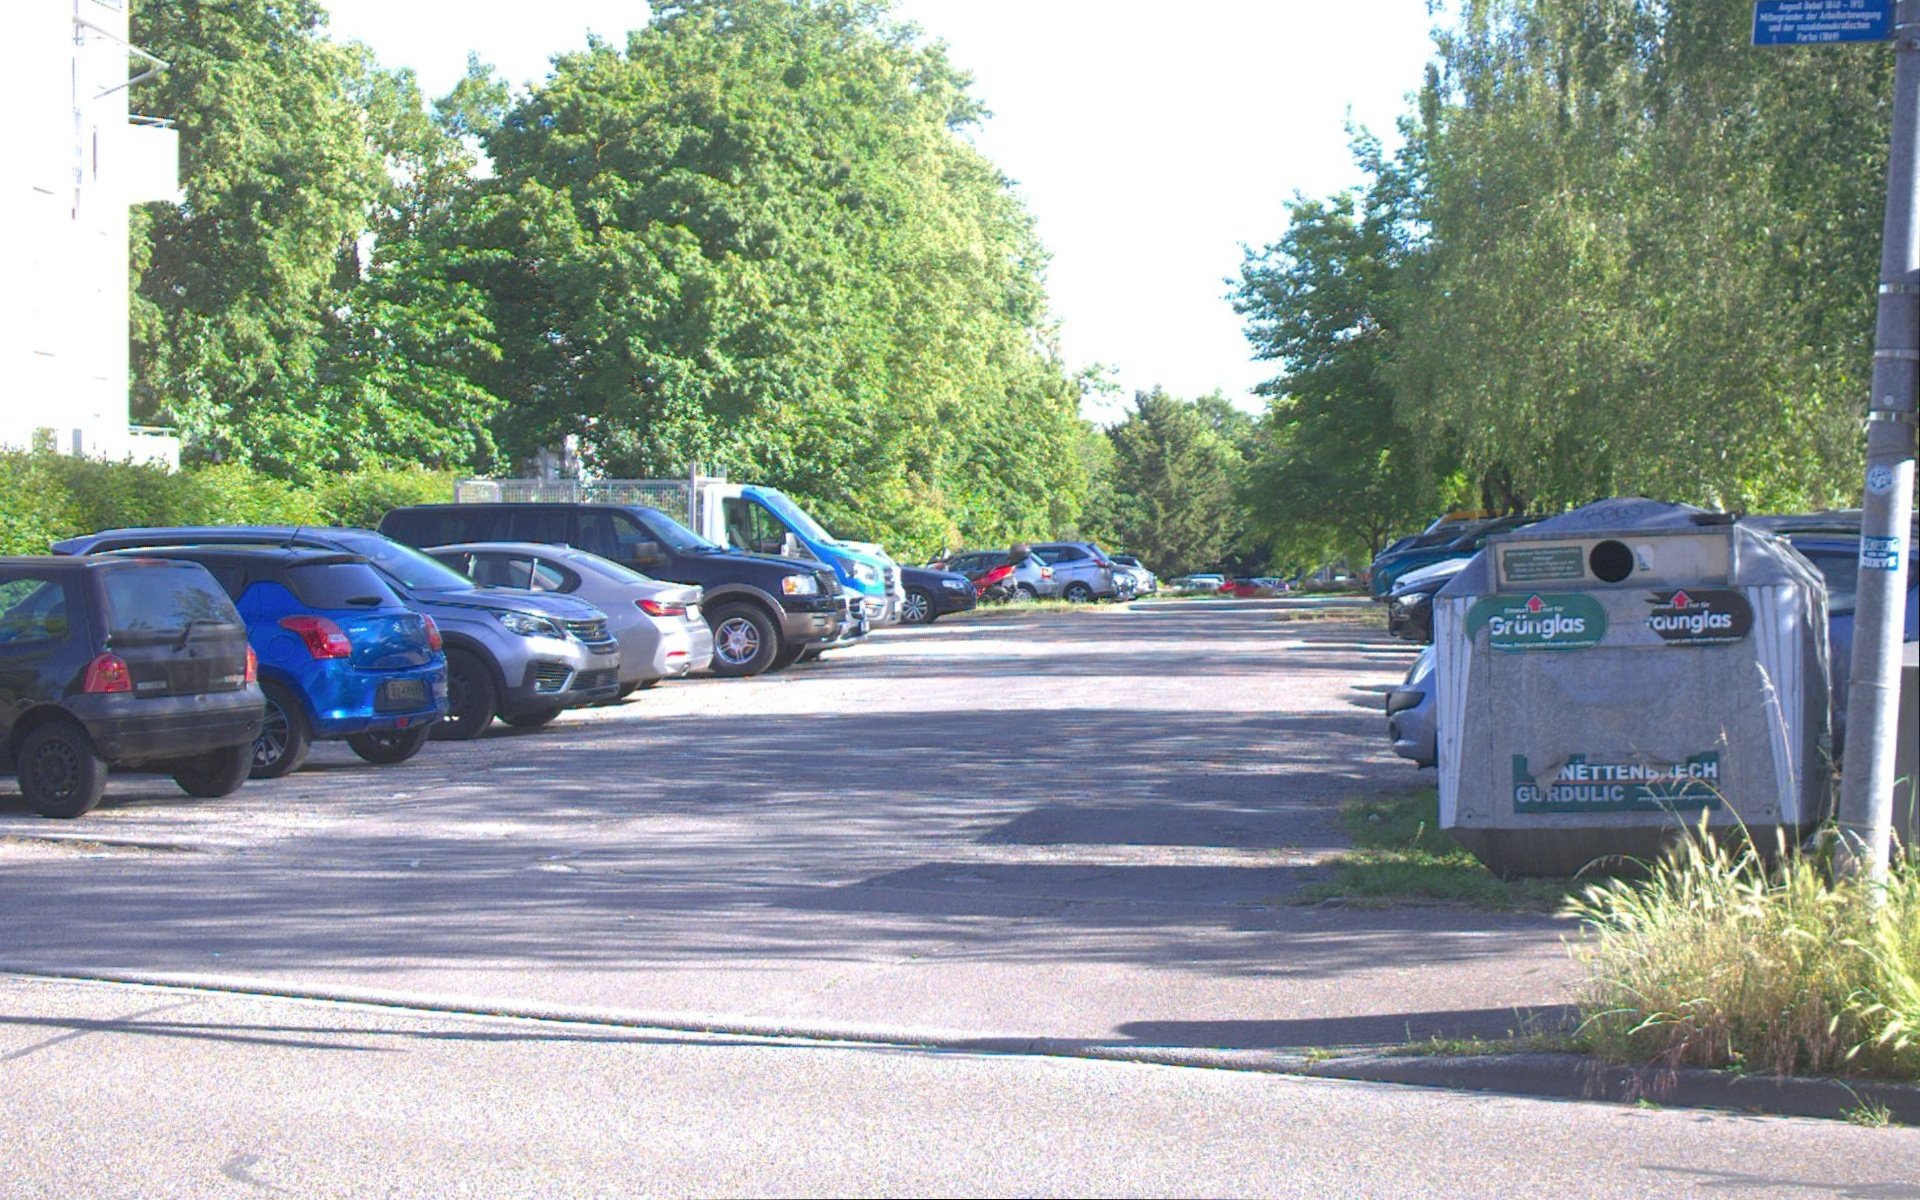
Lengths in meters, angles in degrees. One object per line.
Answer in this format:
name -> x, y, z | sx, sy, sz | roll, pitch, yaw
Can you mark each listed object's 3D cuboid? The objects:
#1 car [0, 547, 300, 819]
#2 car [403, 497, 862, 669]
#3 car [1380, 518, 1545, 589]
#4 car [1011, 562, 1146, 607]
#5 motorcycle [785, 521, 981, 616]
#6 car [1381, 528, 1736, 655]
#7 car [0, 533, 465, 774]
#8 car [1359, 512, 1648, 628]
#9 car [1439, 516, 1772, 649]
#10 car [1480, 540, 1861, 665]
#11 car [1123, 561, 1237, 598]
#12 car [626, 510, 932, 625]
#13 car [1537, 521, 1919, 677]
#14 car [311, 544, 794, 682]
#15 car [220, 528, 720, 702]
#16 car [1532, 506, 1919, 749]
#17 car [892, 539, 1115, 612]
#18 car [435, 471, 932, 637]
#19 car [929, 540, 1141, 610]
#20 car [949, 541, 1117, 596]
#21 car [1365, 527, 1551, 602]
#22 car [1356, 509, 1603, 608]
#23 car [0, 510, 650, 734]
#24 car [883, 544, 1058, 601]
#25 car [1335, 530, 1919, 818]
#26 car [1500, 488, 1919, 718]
car -> -5.877, 0.430, 20.357 | 3.526, 1.461, 1.702 | 1, 2, 24
car -> -3.465, -0.200, 36.655 | 4.525, 1.765, 1.846 | 0, 1, 12
car -> 12.557, -1.157, 85.795 | 3.989, 1.702, 1.797 | 1, 0, 11
car -> 3.597, -0.483, 103.862 | 3.940, 1.329, 1.847 | 0, 1, 7
motorcycle -> -1.288, -0.537, 57.935 | 3.192, 1.590, 0.923 | 0, 1, 9
car -> 6.989, -0.109, 40.206 | 3.989, 1.396, 1.797 | 1, 0, 11
car -> -5.328, 0.333, 22.832 | 3.683, 1.491, 1.649 | 0, 1, 20
car -> 7.766, -0.431, 49.082 | 3.989, 1.580, 1.797 | 1, 0, 11
car -> 8.059, -0.227, 43.021 | 3.989, 1.580, 1.797 | 1, 0, 11
car -> 7.802, 0.014, 37.815 | 3.989, 1.273, 1.796 | 1, 0, 13
car -> 7.225, -0.673, 112.797 | 3.645, 1.208, 1.847 | 0, 1, 7
car -> -2.813, -0.516, 53.922 | 4.524, 1.765, 1.846 | 0, 1, 8
car -> 8.027, -0.021, 35.440 | 3.989, 1.498, 1.947 | 1, 0, 13
car -> -4.028, 0.106, 34.315 | 4.453, 1.330, 1.846 | 0, 1, 10
car -> -4.337, 0.127, 30.728 | 4.144, 1.450, 1.619 | -1, 0, 5
car -> 6.195, 0.175, 24.203 | 4.053, 1.597, 1.791 | 1, 2, 2
car -> 0.828, -0.464, 63.349 | 3.940, 1.329, 1.847 | 0, 1, 7
car -> -3.605, -0.615, 45.644 | 6.257, 2.139, 2.410 | 0, 1, 5
car -> 1.471, -0.496, 66.423 | 3.940, 1.329, 1.847 | 0, 1, 7
car -> 1.802, -0.775, 84.138 | 3.940, 1.329, 1.847 | 0, 1, 7
car -> 11.040, -0.788, 76.175 | 3.989, 1.580, 1.797 | 1, 0, 11
car -> 8.704, -0.694, 57.507 | 3.989, 1.580, 1.797 | 1, 0, 11
car -> -5.088, 0.164, 26.796 | 4.995, 1.649, 1.783 | -1, 1, 13
car -> 0.273, -0.665, 81.027 | 3.940, 1.329, 1.847 | 0, 1, 7
car -> 4.248, 0.376, 18.843 | 4.057, 1.434, 1.633 | 1, 1, 20
car -> 6.436, 0.003, 26.969 | 4.104, 1.700, 1.791 | 1, 2, 1
